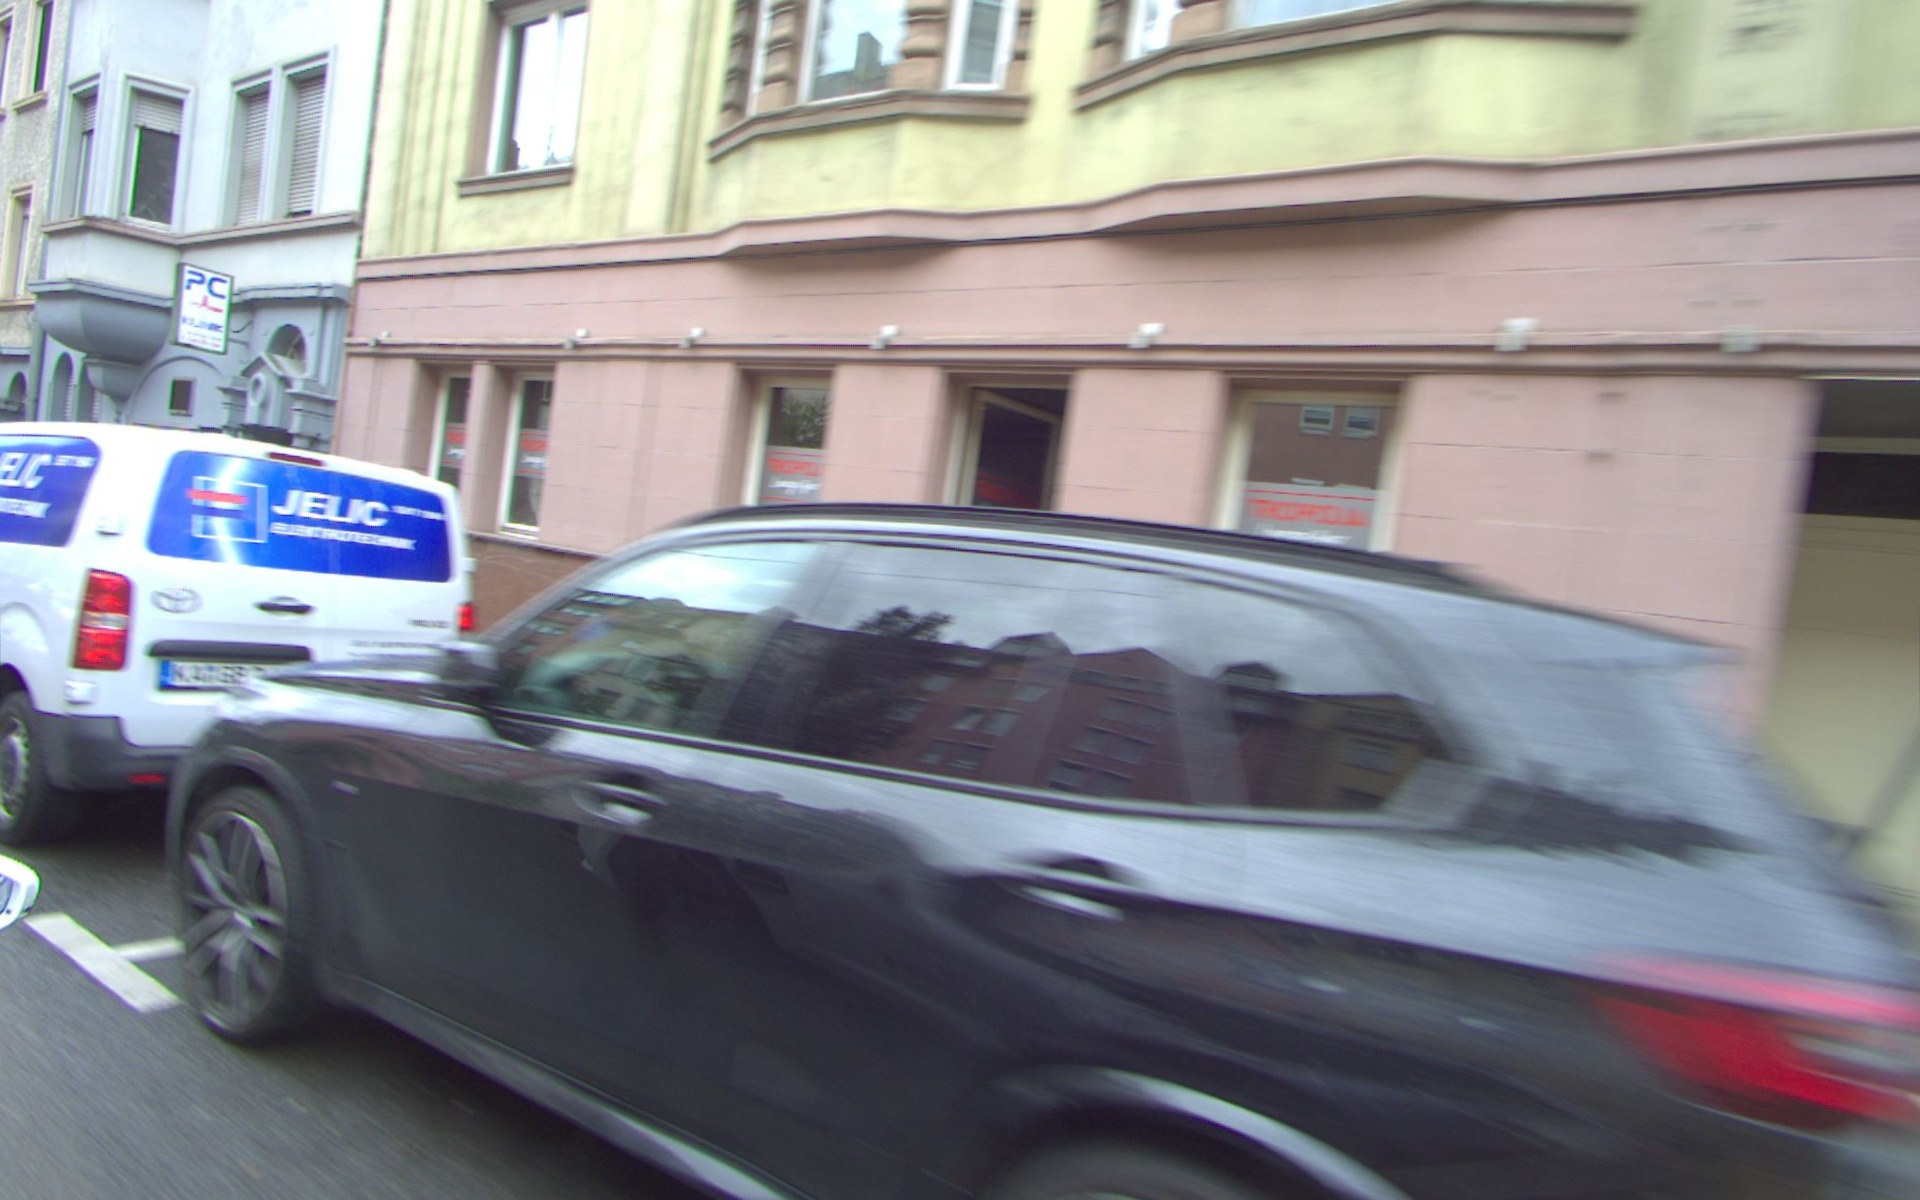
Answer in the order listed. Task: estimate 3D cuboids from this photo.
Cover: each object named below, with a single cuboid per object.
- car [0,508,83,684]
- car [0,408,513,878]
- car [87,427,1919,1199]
[{"bbox_3d":[-9.657,-0.258,8.856,4.205,1.391,1.680,7,-1,32],"label":"car"},{"bbox_3d":[-5.143,-0.012,6.036,4.925,1.851,1.921,7,1,31],"label":"car"},{"bbox_3d":[-0.408,0.600,2.971,4.599,1.751,1.882,7,-2,32],"label":"car"}]
